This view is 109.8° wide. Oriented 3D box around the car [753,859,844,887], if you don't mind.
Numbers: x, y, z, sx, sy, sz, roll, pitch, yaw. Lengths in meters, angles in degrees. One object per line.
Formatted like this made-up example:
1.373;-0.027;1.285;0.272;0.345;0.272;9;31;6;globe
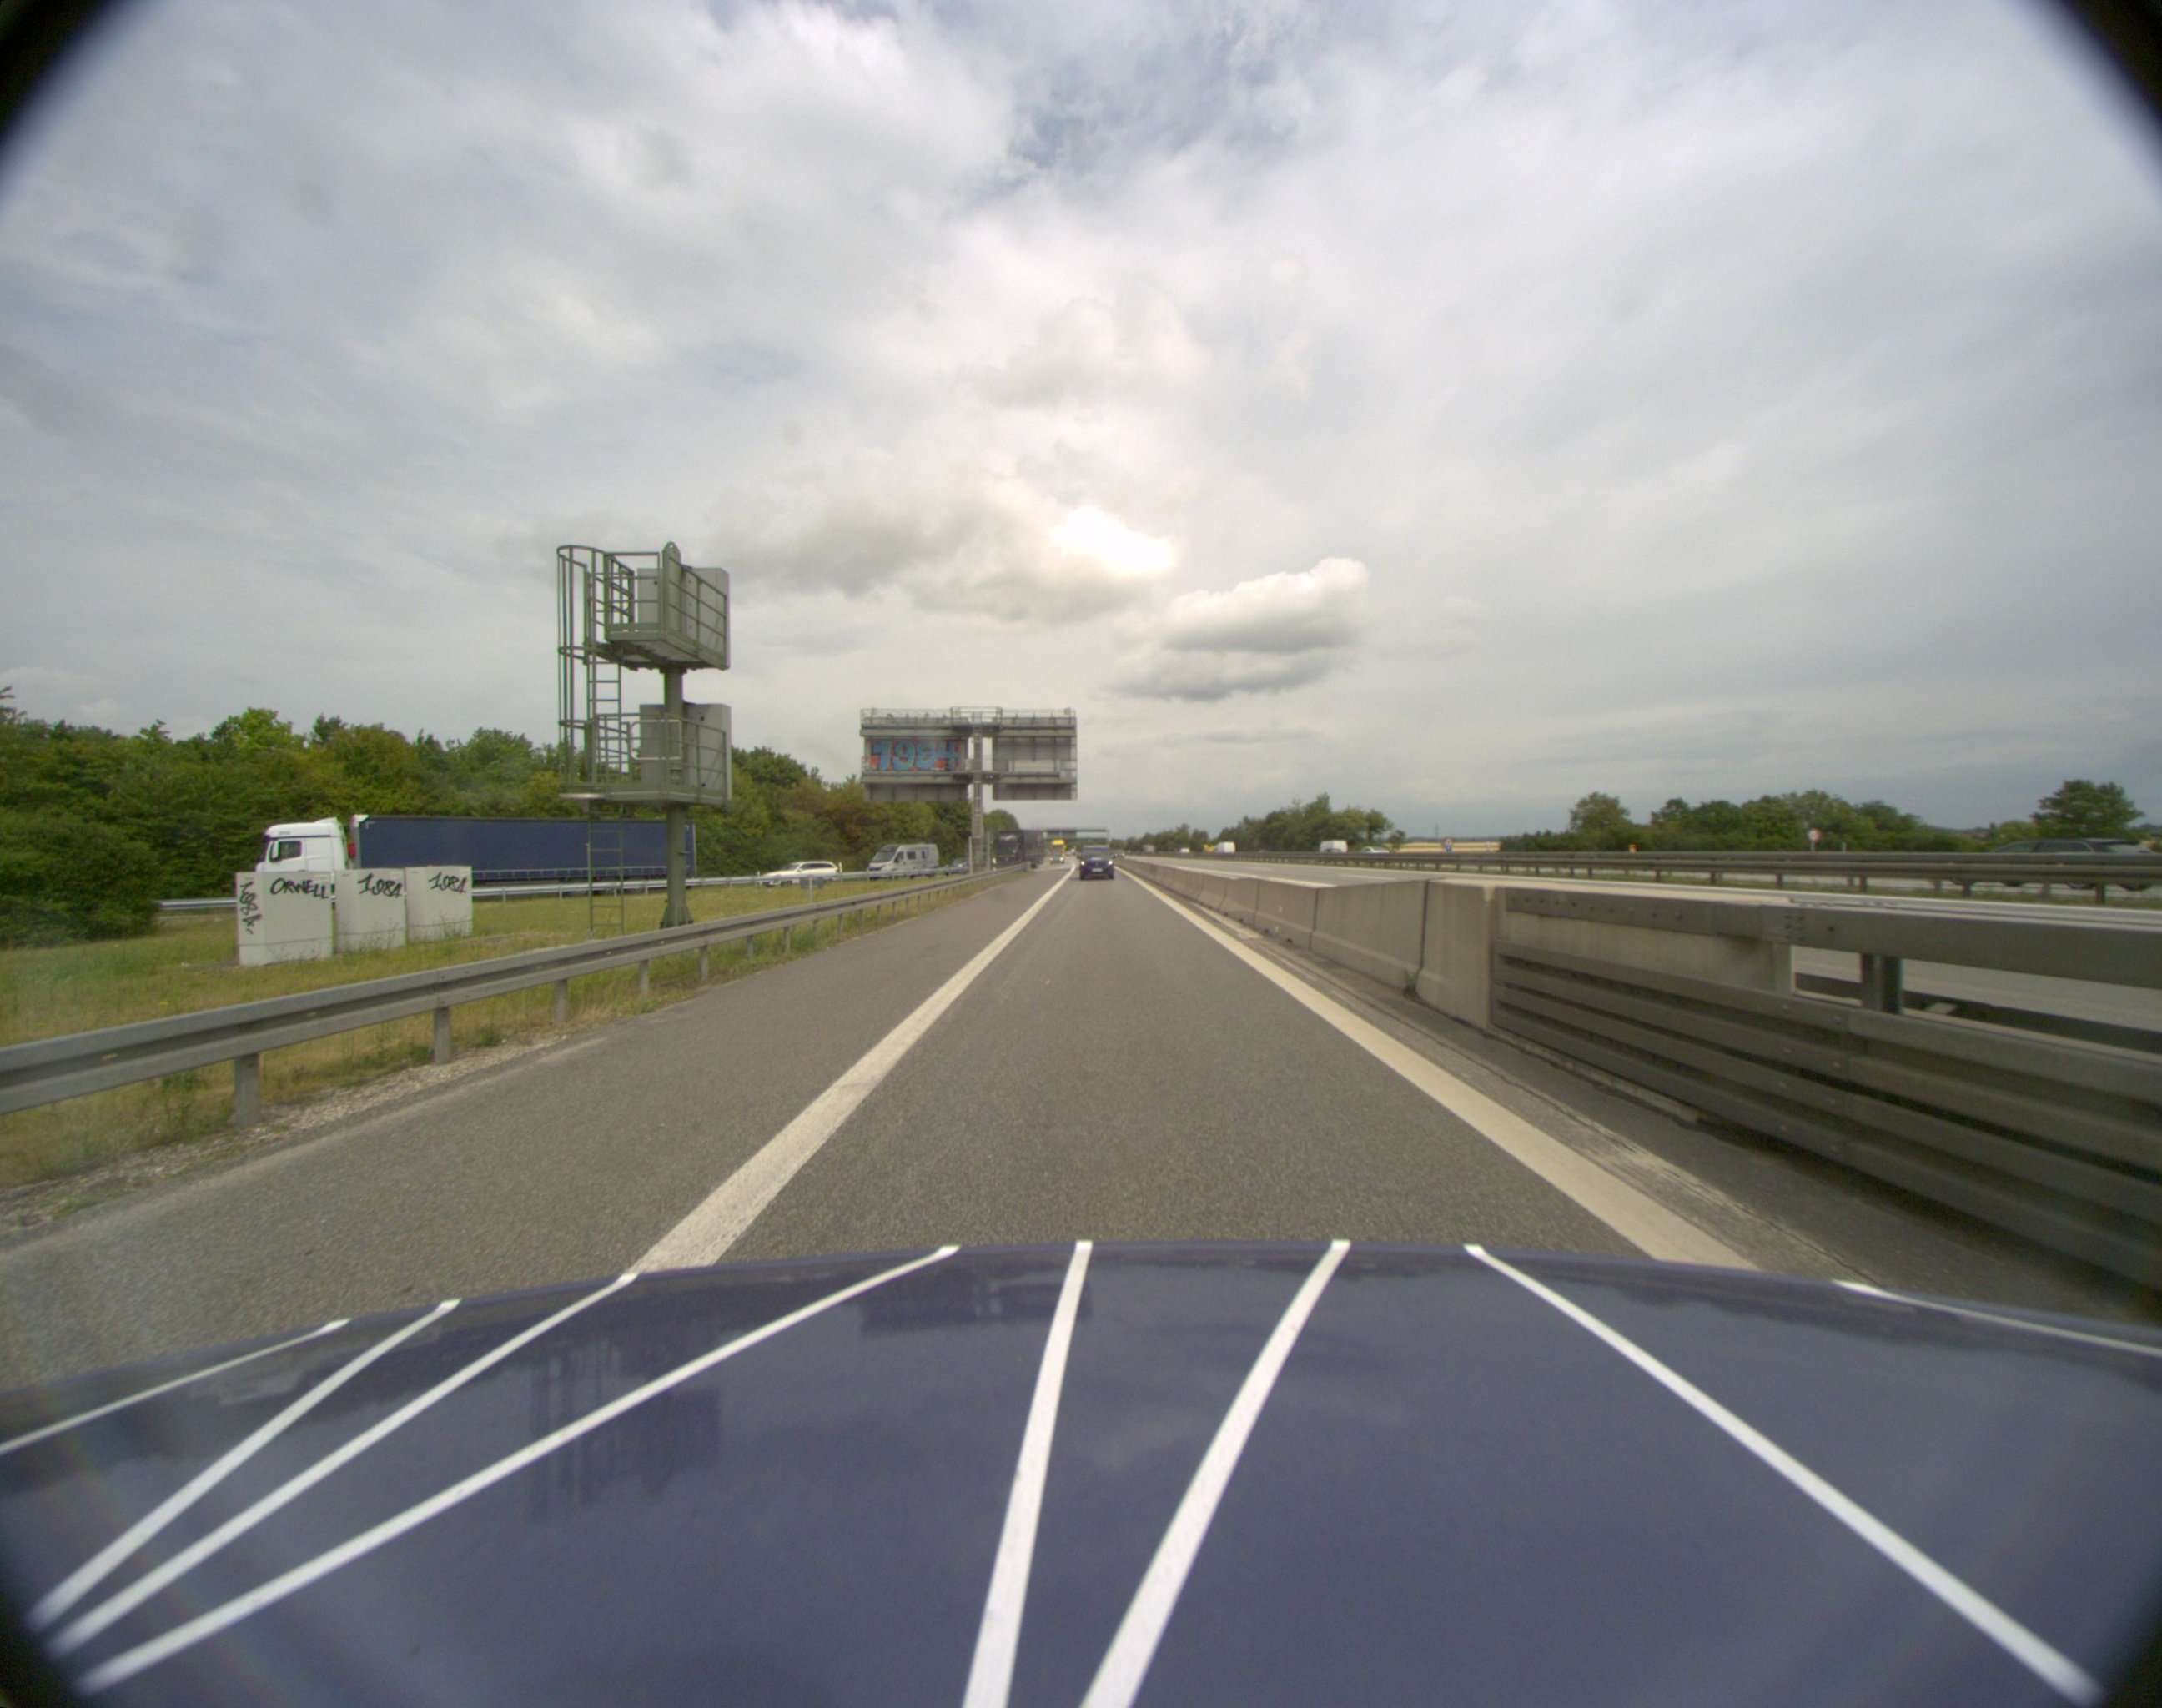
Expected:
-17.305;1.134;46.764;2.207;1.493;4.796;-1;1;37;car

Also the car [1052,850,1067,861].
-2.787;0.165;99.654;1.866;1.434;3.998;-2;1;-3;car

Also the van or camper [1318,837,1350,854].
34.674;-1.155;104.343;2.193;2.159;5.807;-2;1;-3;van or camper

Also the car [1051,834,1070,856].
-4.280;-1.862;159.319;3.394;4.458;11.605;-2;1;1;car

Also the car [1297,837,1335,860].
21.235;-0.491;68.793;1.999;2.002;3.998;-2;1;-3;car

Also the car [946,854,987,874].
-9.307;0.784;61.995;1.731;1.411;3.670;-2;1;20;car

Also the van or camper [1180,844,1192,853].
23.181;-1.268;167.566;1.999;1.818;4.346;-2;1;-1;van or camper

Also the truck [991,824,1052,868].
-5.687;-0.804;75.360;3.021;3.932;10.349;-2;1;13;truck

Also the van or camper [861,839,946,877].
-12.556;0.214;54.274;2.295;2.553;6.171;-1;1;28;van or camper

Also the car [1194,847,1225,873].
10.348;0.450;61.373;1.799;1.871;3.999;-3;1;0;car

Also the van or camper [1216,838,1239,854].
24.676;-1.353;128.354;2.193;2.604;6.902;-2;1;-2;van or camper

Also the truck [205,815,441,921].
-32.347;0.480;32.743;3.361;4.071;6.802;-1;1;43;truck

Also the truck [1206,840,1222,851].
34.829;-2.325;199.388;2.913;2.758;8.781;-2;1;1;truck

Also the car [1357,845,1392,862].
25.997;-0.083;67.411;1.527;1.455;3.999;-2;1;0;car

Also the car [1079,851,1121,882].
0.942;0.592;39.256;1.866;1.434;3.998;-2;1;-3;car

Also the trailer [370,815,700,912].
-26.870;0.243;38.481;3.332;4.169;13.057;-1;1;44;trailer
